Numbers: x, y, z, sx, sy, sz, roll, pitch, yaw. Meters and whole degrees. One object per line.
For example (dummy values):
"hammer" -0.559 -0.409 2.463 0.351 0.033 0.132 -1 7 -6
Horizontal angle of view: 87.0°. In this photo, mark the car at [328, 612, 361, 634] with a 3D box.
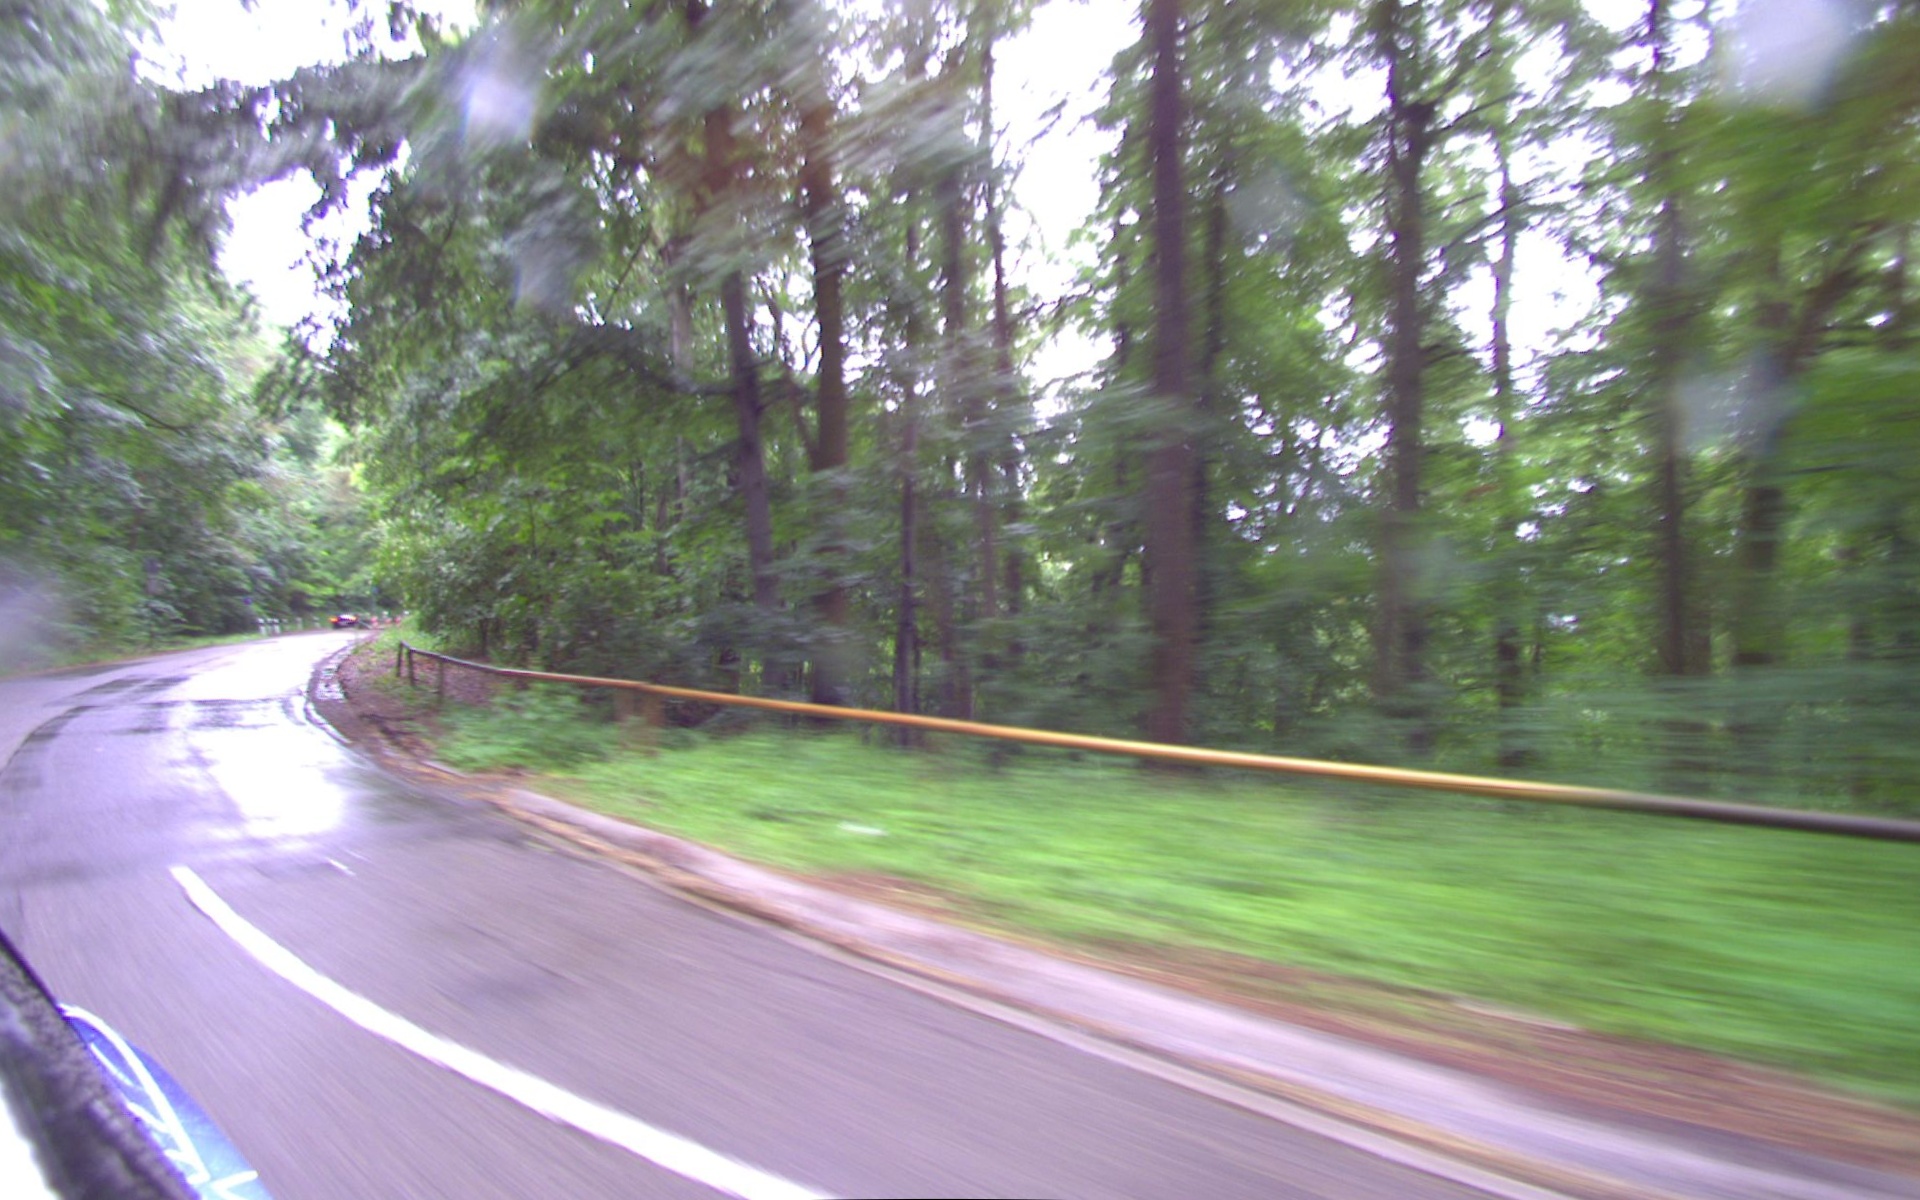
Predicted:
"car" -52.507 1.958 86.421 1.965 1.763 4.013 -1 0 -25
